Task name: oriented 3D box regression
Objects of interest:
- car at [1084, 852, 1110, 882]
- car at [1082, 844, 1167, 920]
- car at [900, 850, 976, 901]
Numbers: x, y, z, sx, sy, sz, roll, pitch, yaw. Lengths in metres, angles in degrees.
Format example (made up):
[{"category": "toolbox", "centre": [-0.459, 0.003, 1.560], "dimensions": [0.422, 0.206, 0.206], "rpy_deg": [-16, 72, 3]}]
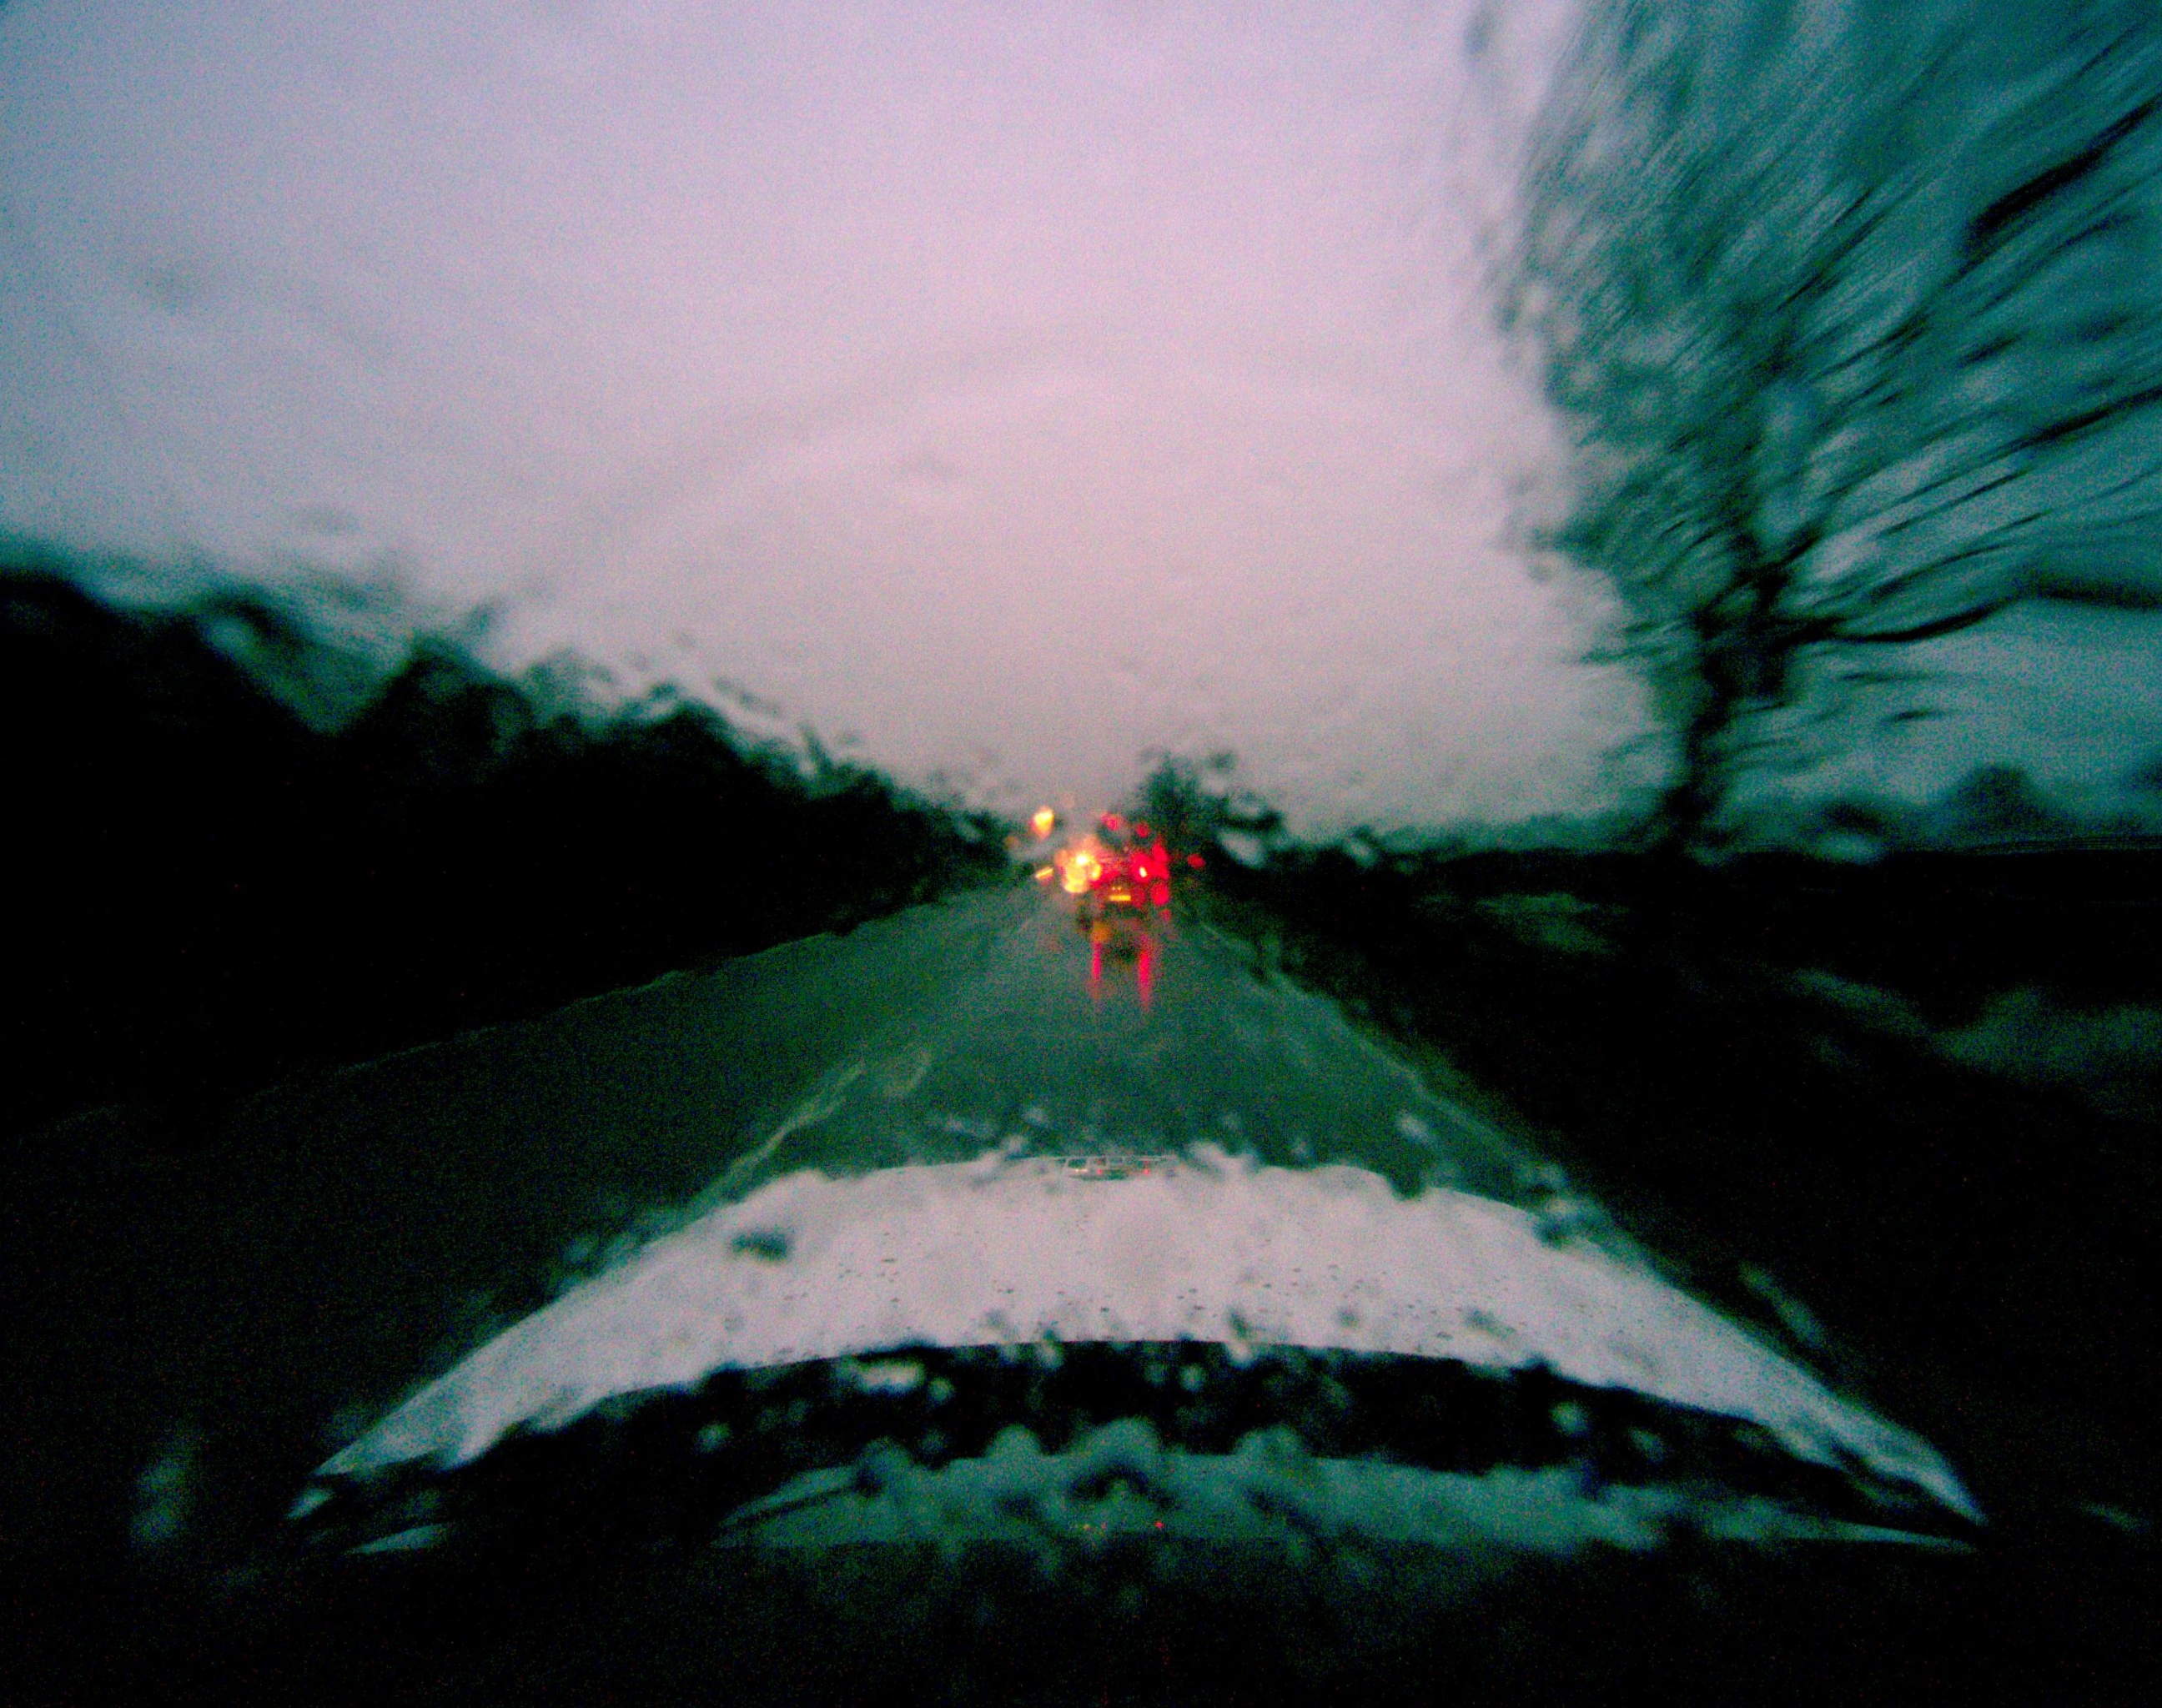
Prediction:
[{"category": "car", "centre": [1.052, 0.827, 52.254], "dimensions": [1.568, 1.875, 3.710], "rpy_deg": [0, 0, 2]}, {"category": "car", "centre": [1.098, 0.671, 21.177], "dimensions": [1.986, 1.785, 4.002], "rpy_deg": [0, 0, 2]}, {"category": "car", "centre": [-5.239, 0.766, 30.348], "dimensions": [1.986, 1.785, 4.002], "rpy_deg": [0, 0, 2]}]
